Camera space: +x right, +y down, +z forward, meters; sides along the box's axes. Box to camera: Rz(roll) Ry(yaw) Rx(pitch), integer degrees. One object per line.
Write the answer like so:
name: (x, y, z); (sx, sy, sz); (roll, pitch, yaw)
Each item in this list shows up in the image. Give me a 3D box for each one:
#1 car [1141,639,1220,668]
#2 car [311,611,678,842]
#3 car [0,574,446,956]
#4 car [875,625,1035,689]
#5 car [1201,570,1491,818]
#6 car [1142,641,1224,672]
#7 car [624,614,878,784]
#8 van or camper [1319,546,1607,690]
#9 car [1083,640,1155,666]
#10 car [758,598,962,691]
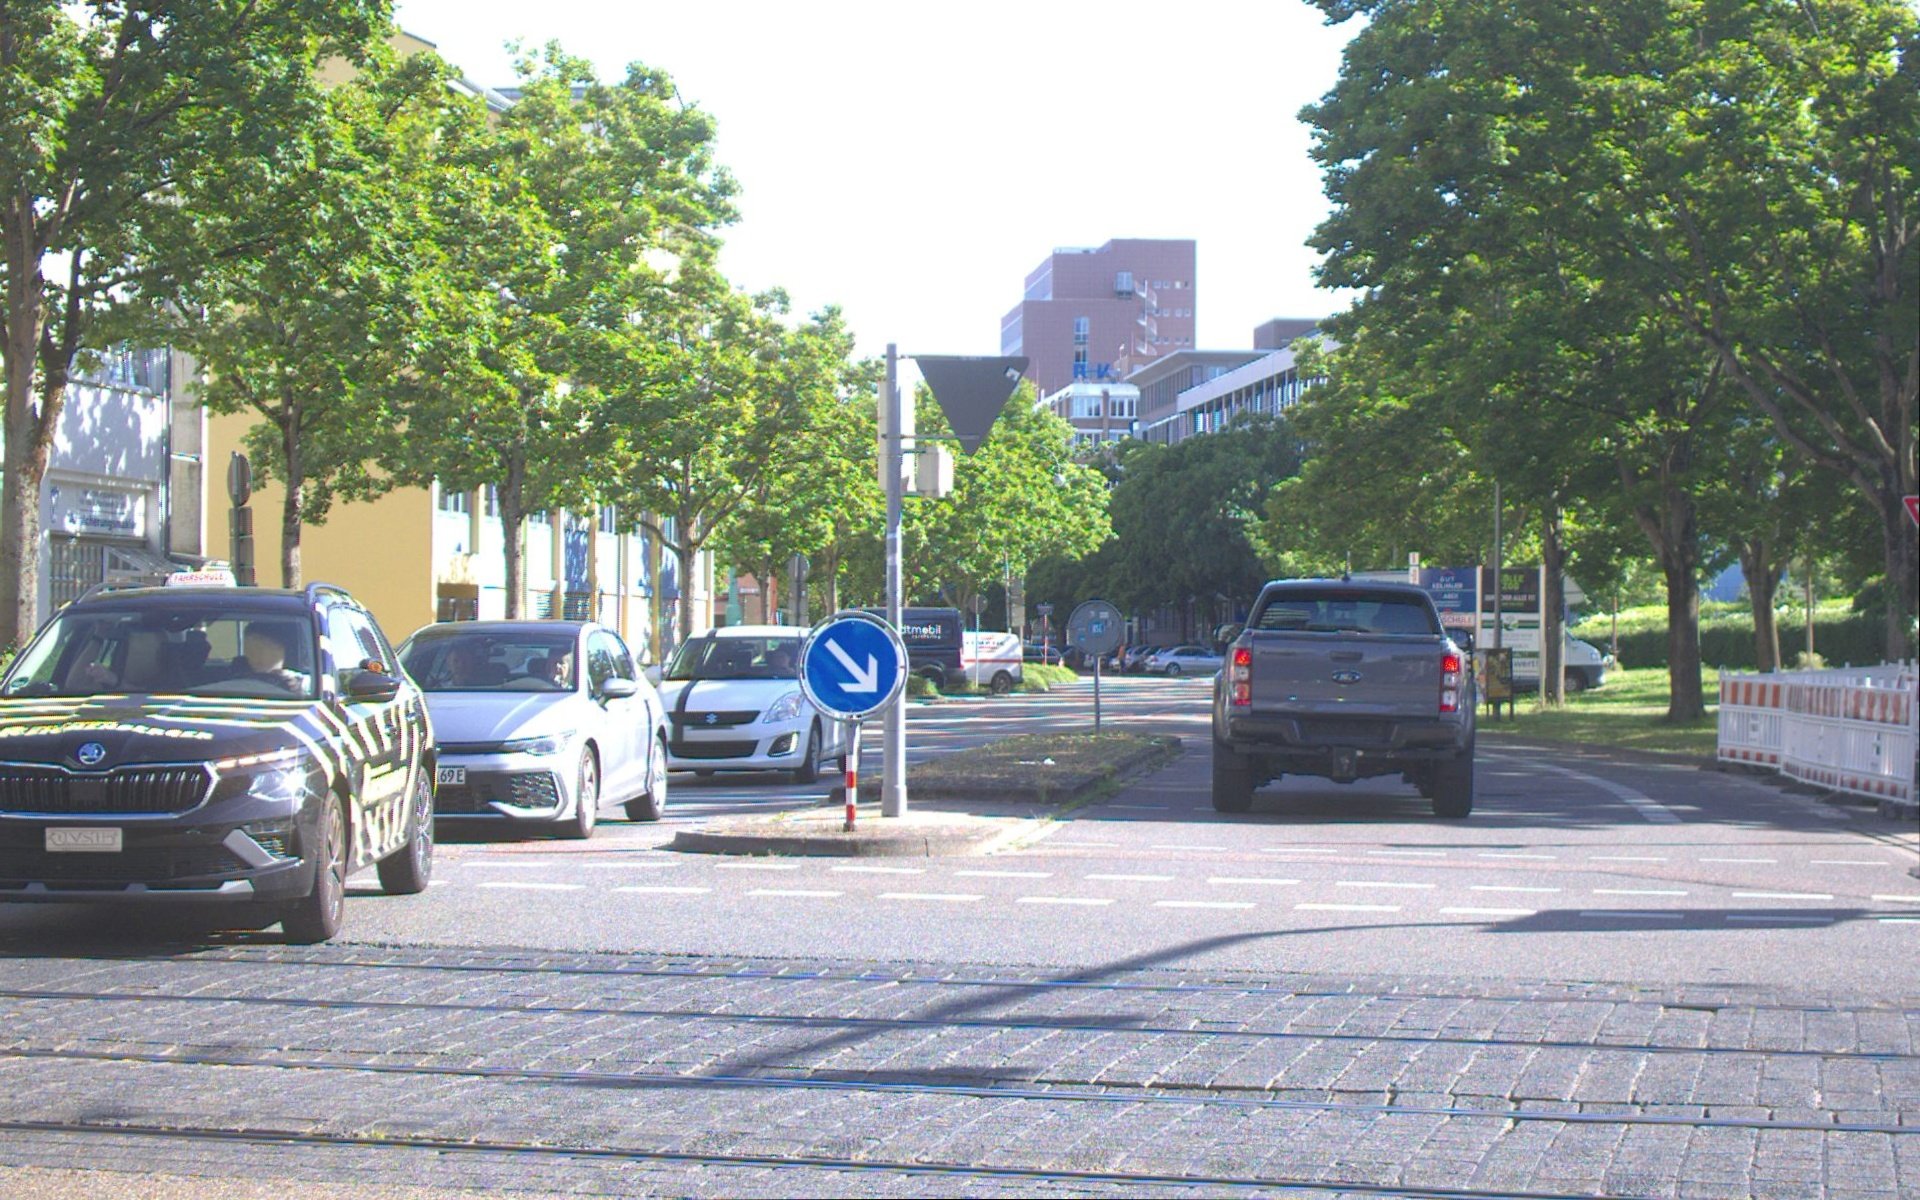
car: (11.584, 2.811, 180.830); (3.946, 1.392, 1.516); (-2, -1, -2)
car: (-3.102, 0.801, 23.644); (1.708, 1.447, 3.850); (0, 0, 5)
car: (-3.513, 0.658, 15.699); (1.788, 1.508, 4.116); (0, 0, -1)
car: (-0.158, 1.857, 112.752); (4.883, 2.076, 1.986); (0, -1, -28)
car: (3.142, 0.701, 27.990); (2.133, 1.829, 4.939); (0, 0, 6)
car: (11.264, 2.858, 173.600); (3.946, 1.392, 1.516); (-2, -1, -2)
car: (-1.947, 0.908, 33.121); (1.705, 1.507, 3.861); (-2, 0, 7)
van or camper: (11.040, 0.414, 75.918); (6.080, 2.919, 2.575); (-2, -1, 6)
car: (9.135, 3.043, 197.678); (3.946, 1.392, 1.516); (-2, -1, -2)
car: (-2.749, 1.215, 94.697); (5.259, 2.537, 1.986); (0, -1, -19)
